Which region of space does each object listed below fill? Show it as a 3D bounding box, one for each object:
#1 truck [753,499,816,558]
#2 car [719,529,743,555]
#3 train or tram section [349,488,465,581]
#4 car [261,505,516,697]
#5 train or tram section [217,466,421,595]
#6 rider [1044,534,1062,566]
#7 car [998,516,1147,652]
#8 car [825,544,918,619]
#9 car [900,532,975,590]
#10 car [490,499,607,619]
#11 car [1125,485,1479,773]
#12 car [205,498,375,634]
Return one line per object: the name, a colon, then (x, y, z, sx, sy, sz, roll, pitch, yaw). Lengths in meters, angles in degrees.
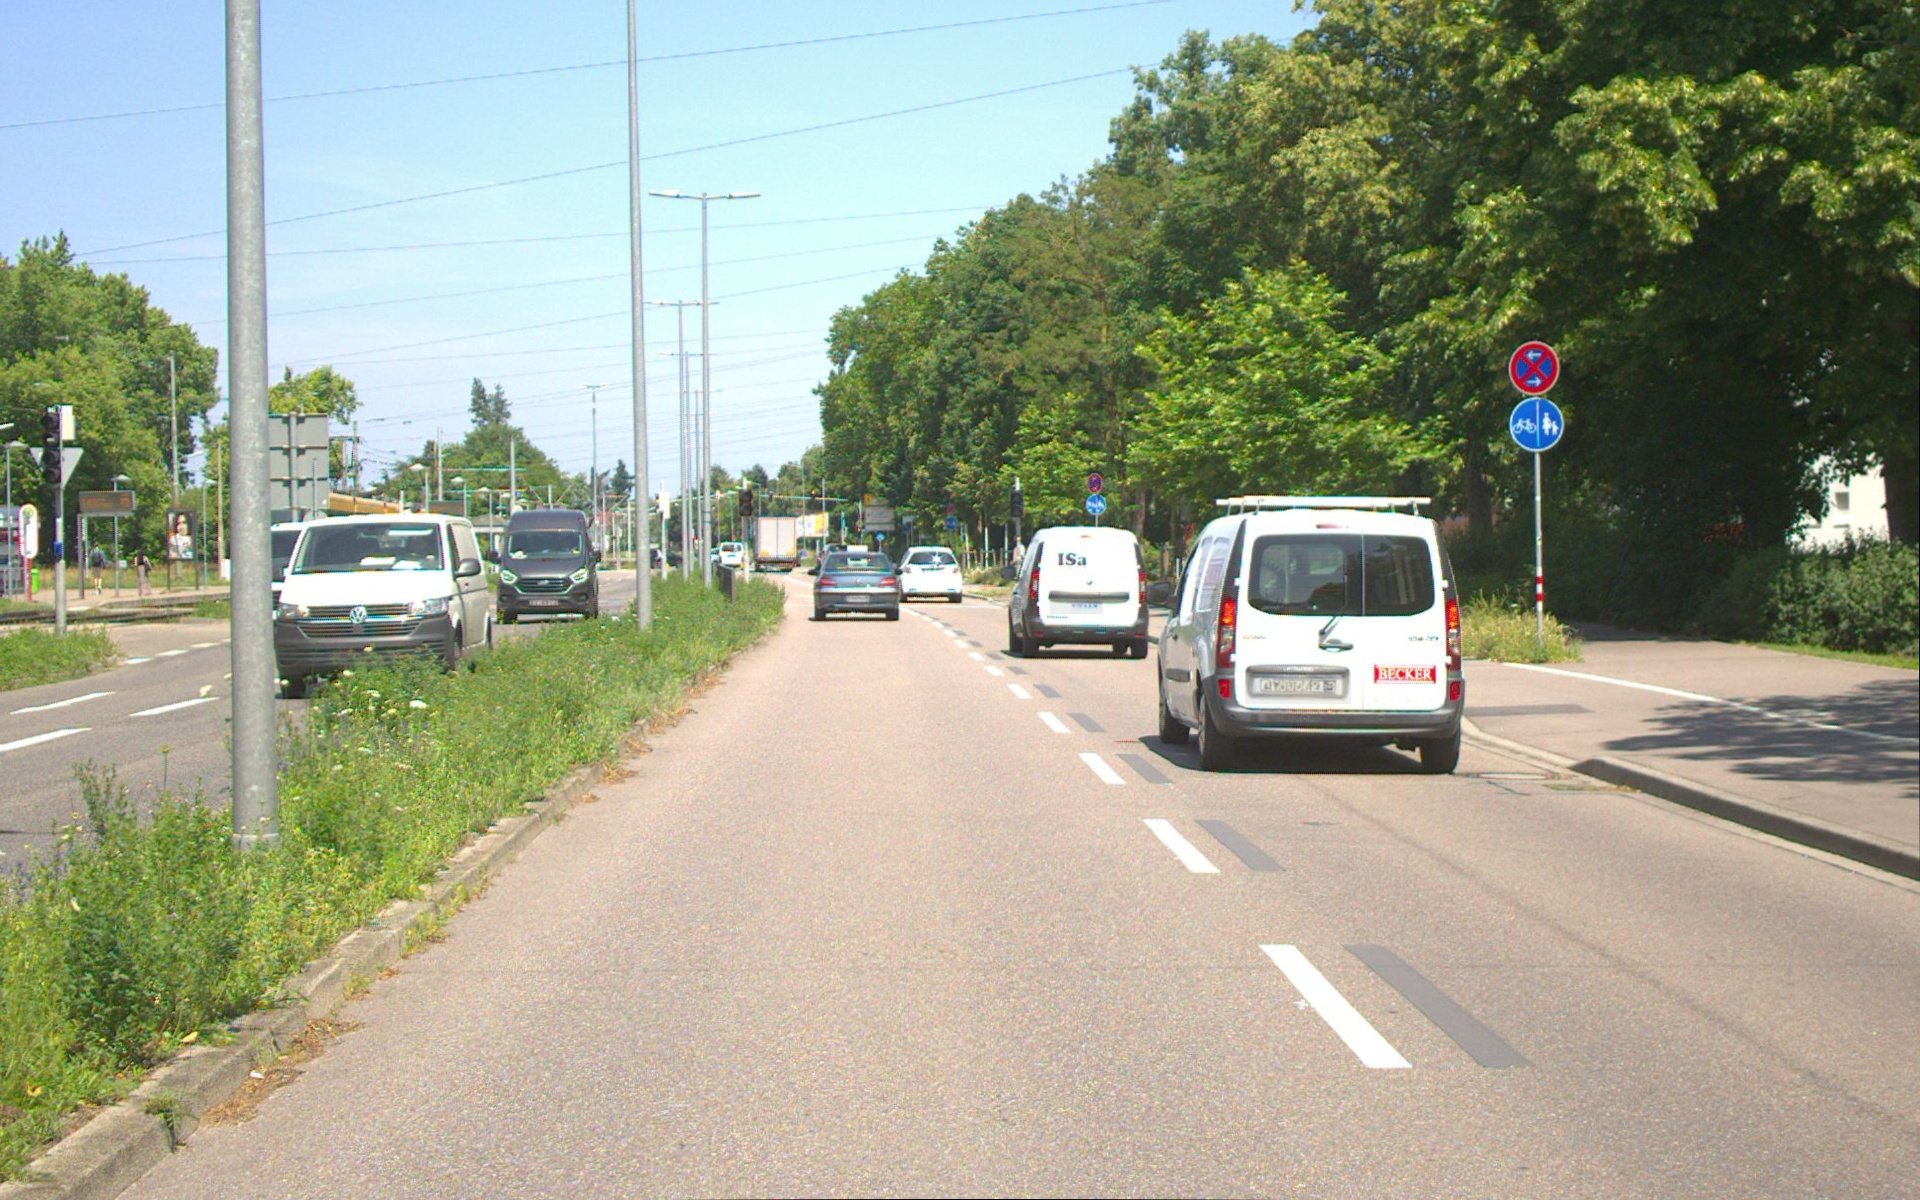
truck: (-11.968, -4.842, 233.668, 3.898, 3.799, 10.795, -1, 1, -5)
car: (-16.605, -4.226, 249.592, 1.687, 1.891, 3.871, -1, 1, -5)
train or tram section: (-23.638, -2.781, 148.438, 2.787, 3.655, 26.003, 0, 1, -4)
car: (-6.199, -0.047, 37.910, 1.830, 1.900, 5.566, -2, 1, 0)
train or tram section: (-21.207, -2.283, 116.773, 2.787, 3.655, 37.524, 0, 1, -4)
rider: (3.665, -1.964, 135.424, 0.678, 1.277, 0.534, 0, 1, -4)
car: (1.530, -0.264, 48.084, 1.727, 1.807, 4.001, 1, 1, -3)
car: (-1.820, -0.393, 69.814, 1.801, 1.481, 4.001, 0, 1, -3)
car: (-0.638, -1.071, 94.223, 1.803, 1.534, 4.001, 0, 1, -4)
car: (-8.553, -0.876, 71.844, 1.993, 2.358, 5.374, -2, 1, -3)
car: (2.347, 0.155, 24.750, 1.824, 1.875, 4.456, 0, 1, -4)
car: (-10.749, -0.576, 55.494, 1.888, 2.010, 5.083, -3, 1, -3)
